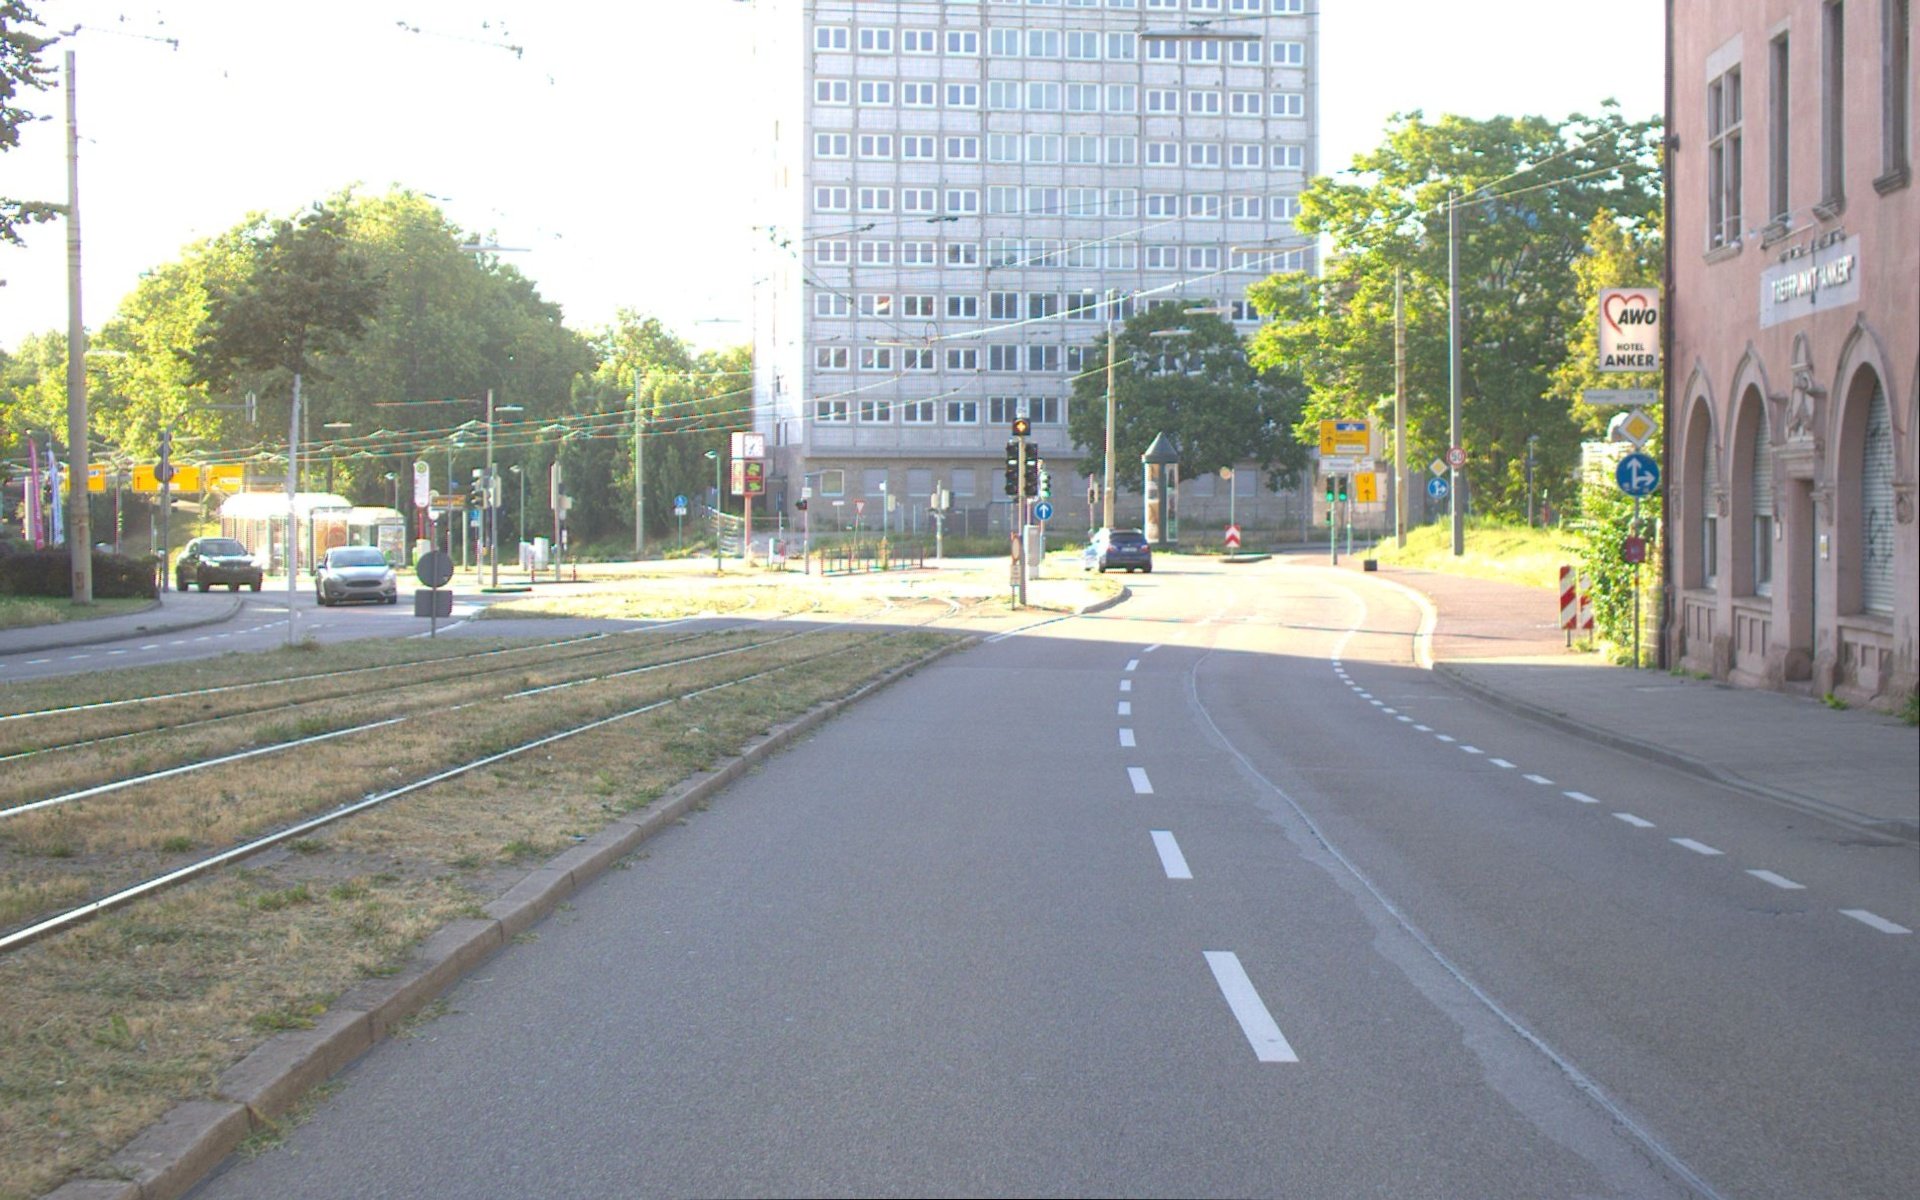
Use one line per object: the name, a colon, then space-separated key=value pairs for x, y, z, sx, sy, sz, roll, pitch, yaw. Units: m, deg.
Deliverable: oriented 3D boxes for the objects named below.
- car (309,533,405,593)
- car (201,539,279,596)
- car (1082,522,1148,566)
car: x=-15.418 y=-0.950 z=88.044 sx=1.697 sy=1.455 sz=4.316 roll=-2 pitch=1 yaw=-1
car: x=-22.657 y=-1.052 z=108.097 sx=1.917 sy=1.656 sz=4.710 roll=-1 pitch=2 yaw=-17
car: x=5.077 y=-1.857 z=113.099 sx=1.772 sy=1.417 sz=3.857 roll=-1 pitch=2 yaw=-3
